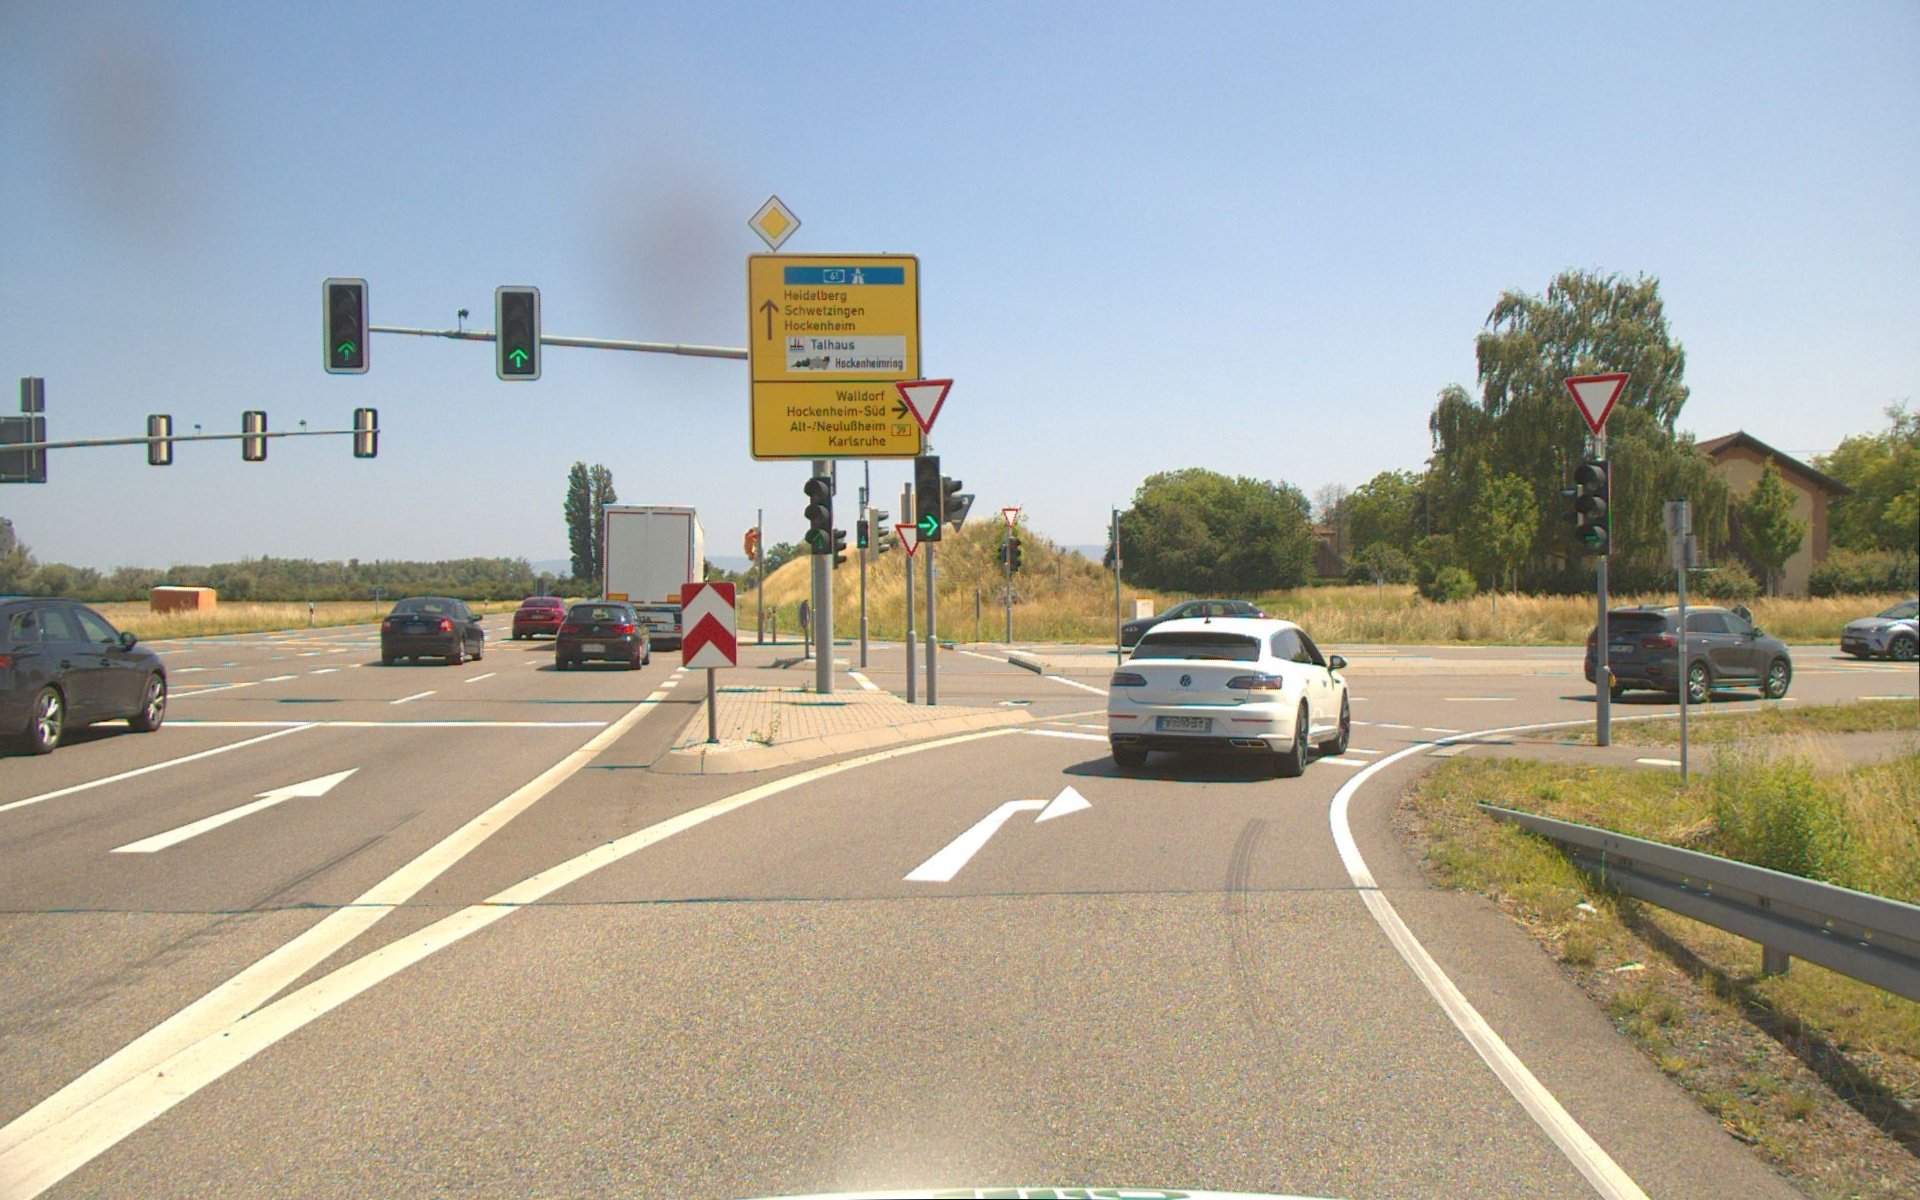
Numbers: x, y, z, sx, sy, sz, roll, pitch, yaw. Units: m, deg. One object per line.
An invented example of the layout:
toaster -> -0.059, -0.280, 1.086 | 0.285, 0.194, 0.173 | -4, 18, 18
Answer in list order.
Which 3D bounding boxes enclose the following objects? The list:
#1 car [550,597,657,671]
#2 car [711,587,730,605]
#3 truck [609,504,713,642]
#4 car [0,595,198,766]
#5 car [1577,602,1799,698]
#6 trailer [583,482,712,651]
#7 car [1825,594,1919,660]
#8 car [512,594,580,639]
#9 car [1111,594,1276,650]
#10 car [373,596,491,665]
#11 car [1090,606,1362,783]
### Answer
car -> -7.615, 0.686, 35.687 | 1.749, 1.456, 4.375 | 1, 0, -6
car -> -25.543, -0.426, 176.101 | 1.944, 1.902, 4.457 | 1, 0, -9
truck -> -10.569, -0.911, 59.097 | 3.318, 4.622, 6.360 | 1, 0, -8
car -> -9.371, 0.700, 16.392 | 1.852, 1.472, 4.521 | 0, 0, -5
car -> 13.471, 0.879, 30.505 | 4.331, 1.645, 1.916 | 1, -1, -37
trailer -> -9.607, -0.921, 52.177 | 3.318, 4.622, 12.848 | 1, 0, -8
car -> 25.067, 0.654, 42.805 | 4.446, 1.570, 1.871 | -1, 1, -3
car -> -14.421, 0.551, 57.780 | 1.716, 1.446, 4.559 | 1, 0, -7
car -> 6.319, 0.582, 45.018 | 4.175, 1.392, 1.775 | -1, 1, -3
car -> -11.715, 0.661, 36.954 | 1.643, 1.436, 4.460 | 1, 0, -7
car -> 2.836, 0.837, 16.715 | 1.810, 1.458, 4.608 | 2, 0, 20
